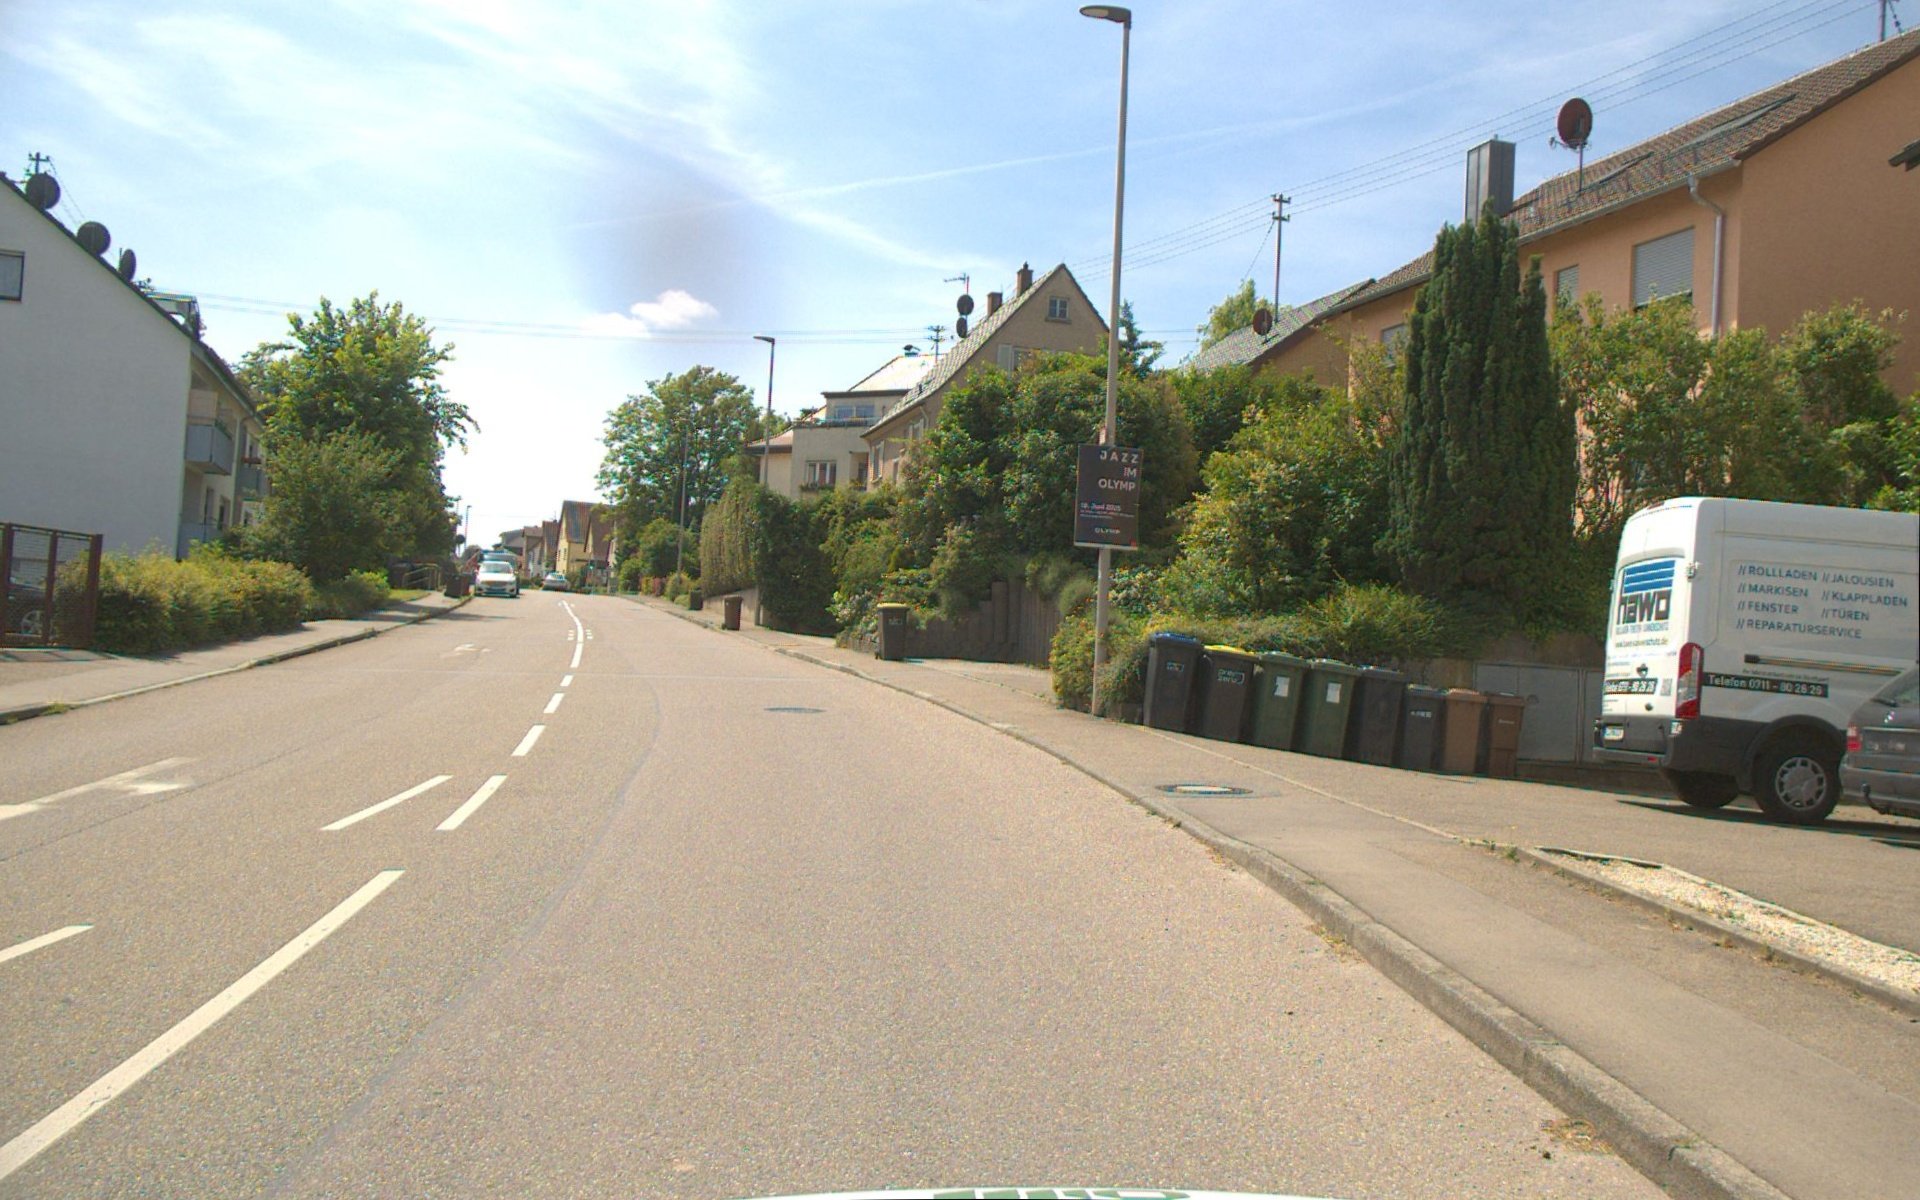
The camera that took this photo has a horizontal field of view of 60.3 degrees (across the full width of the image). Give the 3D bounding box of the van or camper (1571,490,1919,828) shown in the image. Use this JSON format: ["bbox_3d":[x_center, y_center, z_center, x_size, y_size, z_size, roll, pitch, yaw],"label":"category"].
[{"bbox_3d":[8.632,0.662,15.130,5.120,2.693,2.284,4,-3,1],"label":"van or camper"}]

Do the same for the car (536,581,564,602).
[{"bbox_3d":[-32.951,-0.686,132.950,1.962,1.631,3.982,3,0,-17],"label":"car"}]

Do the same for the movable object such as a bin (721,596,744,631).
[{"bbox_3d":[-6.605,0.397,47.988,0.578,0.995,0.783,1,1,-16],"label":"movable object such as a bin"}]

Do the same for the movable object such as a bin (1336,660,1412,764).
[{"bbox_3d":[4.740,1.277,18.955,0.539,1.087,0.672,6,-1,-6],"label":"movable object such as a bin"}]

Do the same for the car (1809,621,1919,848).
[{"bbox_3d":[9.070,1.075,12.212,4.603,1.590,1.908,3,-2,0],"label":"car"}]

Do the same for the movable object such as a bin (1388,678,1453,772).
[{"bbox_3d":[5.262,1.420,18.928,0.450,0.988,0.549,6,-1,-6],"label":"movable object such as a bin"}]

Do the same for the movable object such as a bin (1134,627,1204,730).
[{"bbox_3d":[2.403,0.896,19.057,0.539,1.086,0.658,8,-1,-6],"label":"movable object such as a bin"}]

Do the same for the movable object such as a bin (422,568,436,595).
[{"bbox_3d":[-23.163,-0.804,72.118,0.508,1.123,0.527,2,0,-16],"label":"movable object such as a bin"}]

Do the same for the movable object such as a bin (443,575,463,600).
[{"bbox_3d":[-19.713,-0.478,64.368,0.608,0.933,0.684,2,0,-9],"label":"movable object such as a bin"}]

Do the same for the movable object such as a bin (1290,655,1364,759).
[{"bbox_3d":[4.187,1.217,18.894,0.539,1.087,0.672,6,-1,-6],"label":"movable object such as a bin"}]

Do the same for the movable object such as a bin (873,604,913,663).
[{"bbox_3d":[-1.307,0.643,32.101,0.578,1.077,0.916,2,0,-13],"label":"movable object such as a bin"}]

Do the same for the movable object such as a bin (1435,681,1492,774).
[{"bbox_3d":[5.751,1.450,18.903,0.391,0.988,0.408,6,-1,-6],"label":"movable object such as a bin"}]

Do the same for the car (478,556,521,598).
[{"bbox_3d":[-22.881,-1.158,82.114,1.867,1.953,4.847,2,1,-18],"label":"car"}]

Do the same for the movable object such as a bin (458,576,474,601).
[{"bbox_3d":[-20.060,-0.472,67.167,0.497,1.005,0.562,2,0,-9],"label":"movable object such as a bin"}]

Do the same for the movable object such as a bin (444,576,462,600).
[{"bbox_3d":[-20.100,-0.479,65.600,0.553,0.933,0.641,2,0,-9],"label":"movable object such as a bin"}]

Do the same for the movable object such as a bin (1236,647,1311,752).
[{"bbox_3d":[3.585,1.130,18.964,0.539,1.086,0.672,8,-1,-6],"label":"movable object such as a bin"}]

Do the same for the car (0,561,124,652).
[{"bbox_3d":[-16.426,0.050,27.759,3.925,1.411,1.990,3,0,-18],"label":"car"}]

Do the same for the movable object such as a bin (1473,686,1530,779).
[{"bbox_3d":[6.219,1.517,19.009,0.391,0.988,0.408,6,-1,-6],"label":"movable object such as a bin"}]

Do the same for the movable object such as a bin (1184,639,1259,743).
[{"bbox_3d":[2.996,1.030,19.002,0.539,1.086,0.767,7,-1,-6],"label":"movable object such as a bin"}]

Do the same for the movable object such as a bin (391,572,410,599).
[{"bbox_3d":[-23.874,-0.630,70.595,0.591,1.115,0.648,3,0,-9],"label":"movable object such as a bin"}]

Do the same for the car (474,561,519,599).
[{"bbox_3d":[-21.030,-0.913,74.921,1.782,1.576,4.223,3,0,-17],"label":"car"}]
